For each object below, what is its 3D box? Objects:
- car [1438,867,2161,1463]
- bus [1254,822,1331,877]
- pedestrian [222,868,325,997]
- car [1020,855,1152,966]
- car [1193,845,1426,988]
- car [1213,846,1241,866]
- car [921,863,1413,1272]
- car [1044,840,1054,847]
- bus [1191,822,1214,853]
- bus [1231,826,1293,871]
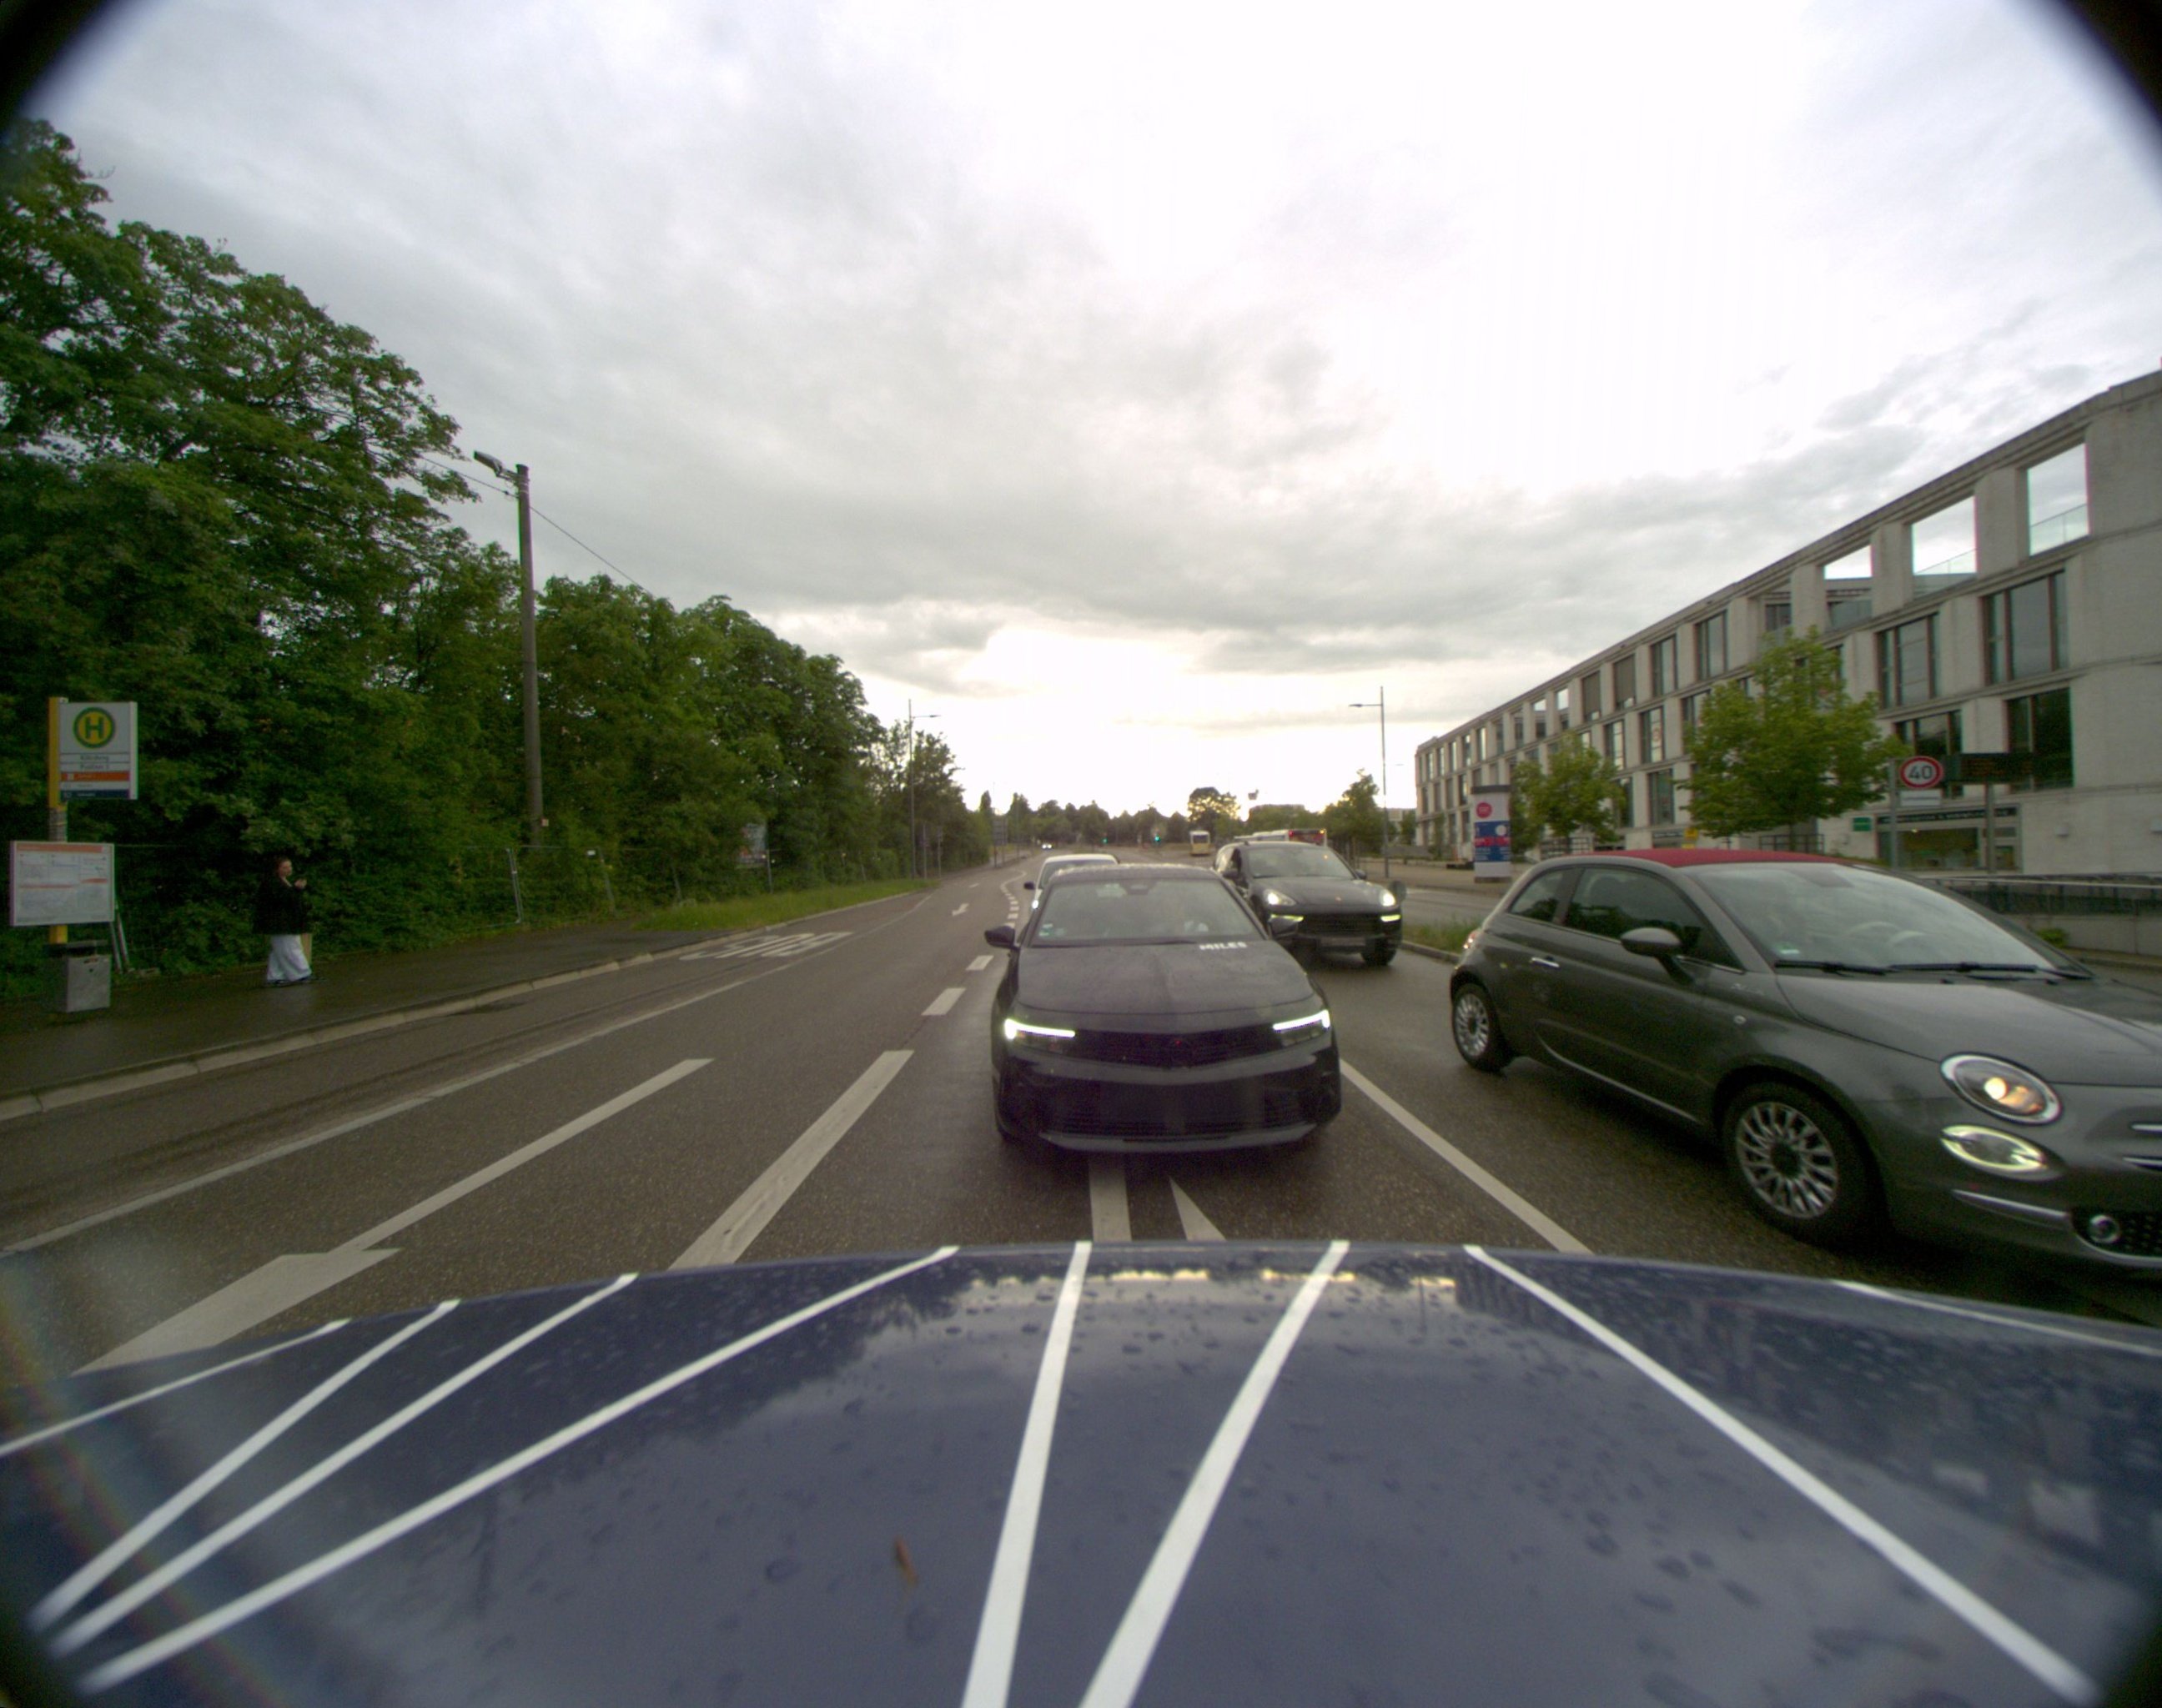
[{"bbox_3d":[3.425,0.856,3.770,1.631,1.473,3.506,-1,1,-1],"label":"car"},{"bbox_3d":[13.816,-0.317,50.534,2.759,3.194,9.207,-2,1,2],"label":"bus"},{"bbox_3d":[-10.571,1.008,9.967,0.588,1.618,0.661,-1,1,1],"label":"pedestrian"},{"bbox_3d":[0.111,0.837,13.674,1.901,1.524,4.767,-2,1,1],"label":"car"},{"bbox_3d":[3.050,0.718,11.275,1.934,1.649,4.617,-1,0,-2],"label":"car"},{"bbox_3d":[13.563,0.162,70.785,1.867,1.777,3.999,-2,1,1],"label":"car"},{"bbox_3d":[0.375,0.882,5.400,1.901,1.456,4.767,-2,1,1],"label":"car"},{"bbox_3d":[-8.172,-2.633,191.925,2.000,1.805,3.996,-2,1,-10],"label":"car"},{"bbox_3d":[18.372,-2.431,113.937,2.757,4.129,19.359,-2,1,11],"label":"bus"},{"bbox_3d":[14.107,-0.457,60.039,2.693,3.163,9.912,-2,1,2],"label":"bus"}]
